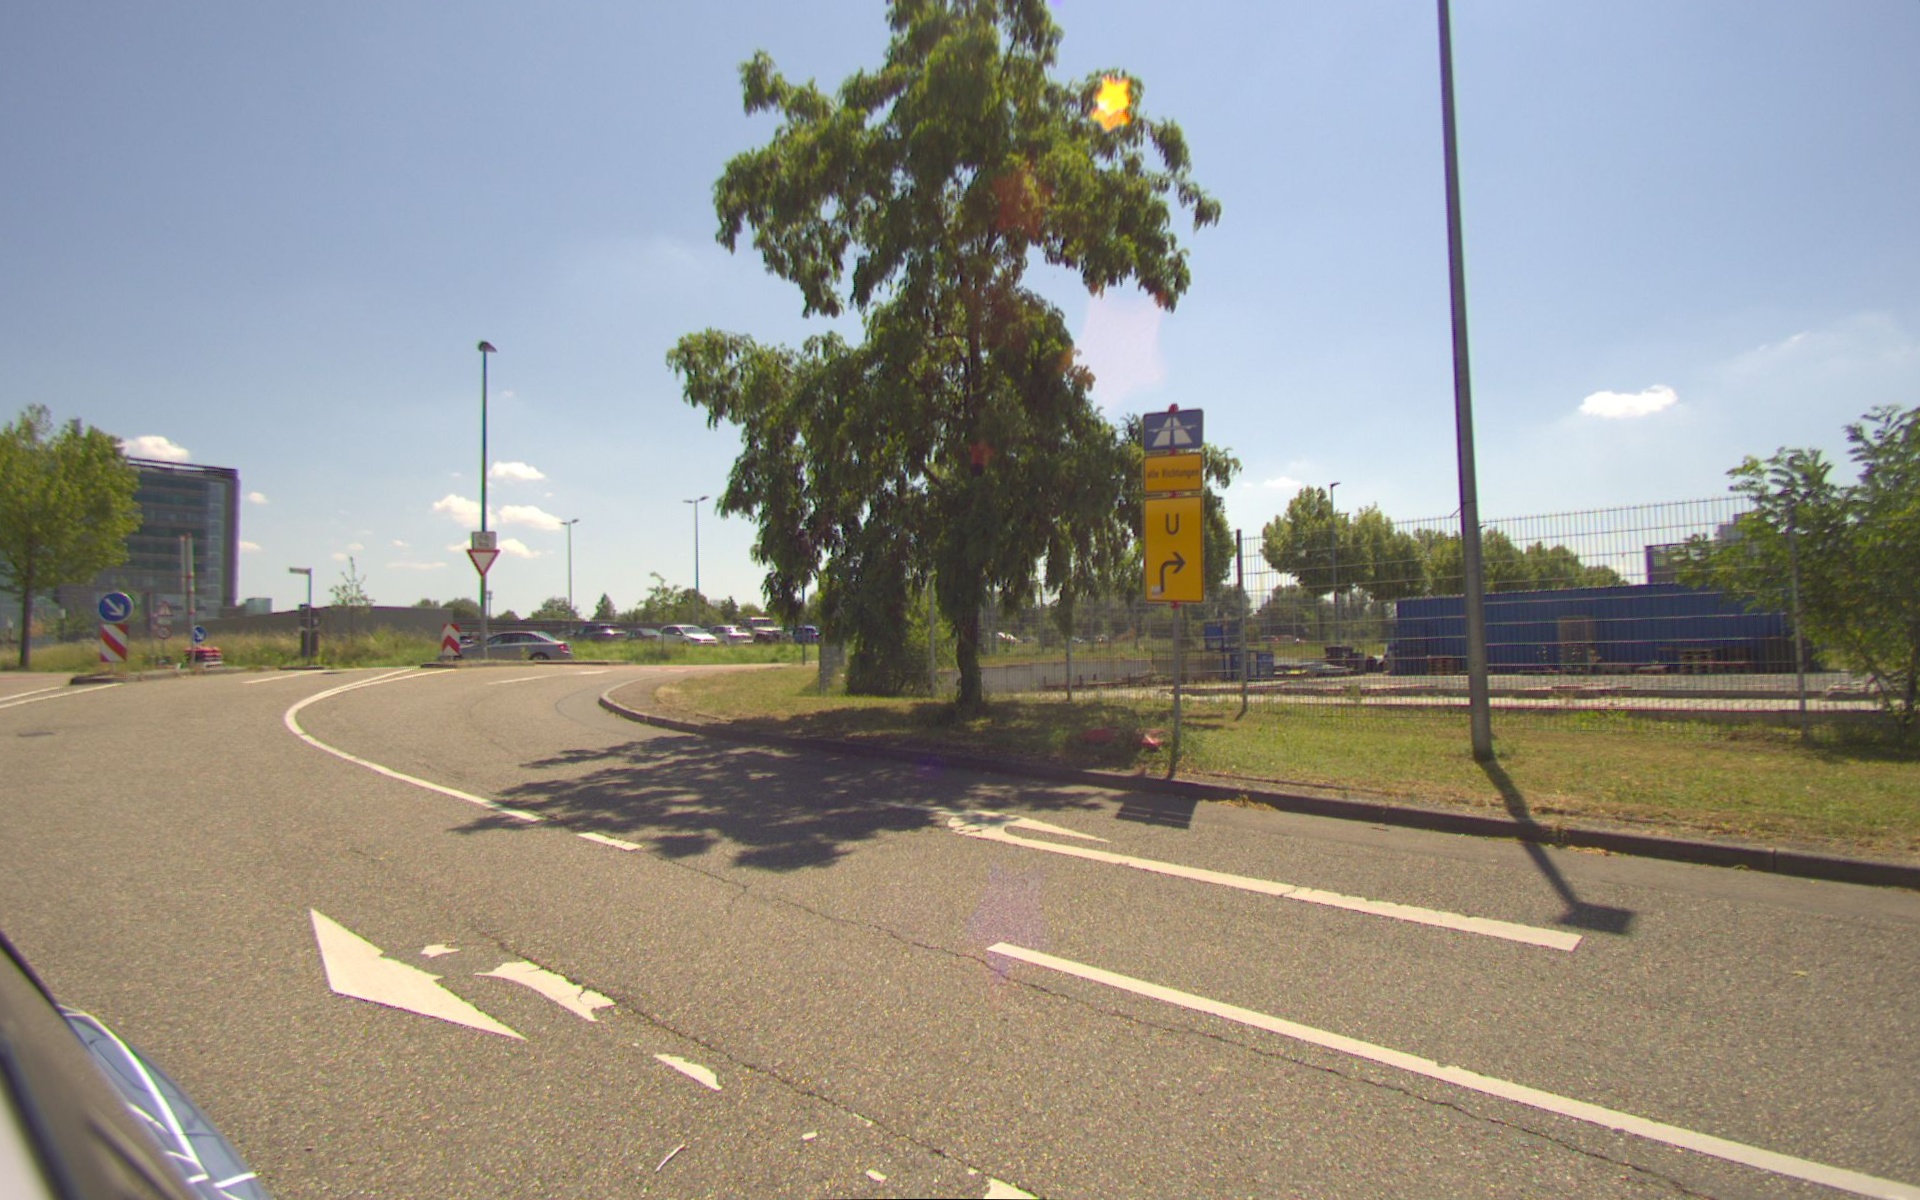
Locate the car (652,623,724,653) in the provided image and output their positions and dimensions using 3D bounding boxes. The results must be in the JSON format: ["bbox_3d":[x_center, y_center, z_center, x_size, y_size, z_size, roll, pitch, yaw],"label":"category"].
[{"bbox_3d":[-13.530,1.900,50.229,3.877,1.307,1.553,-5,-3,42],"label":"car"}]

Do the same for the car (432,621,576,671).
[{"bbox_3d":[-16.076,1.638,35.907,4.421,1.385,1.678,-3,-5,-16],"label":"car"}]

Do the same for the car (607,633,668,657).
[{"bbox_3d":[-19.087,2.673,59.893,3.845,1.373,1.631,-3,-3,40],"label":"car"}]

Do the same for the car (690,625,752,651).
[{"bbox_3d":[-12.365,1.972,52.272,3.269,1.191,1.481,-5,-3,41],"label":"car"}]

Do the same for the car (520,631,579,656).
[{"bbox_3d":[-24.952,2.675,61.512,3.630,1.457,1.634,-3,-3,34],"label":"car"}]

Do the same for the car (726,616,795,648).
[{"bbox_3d":[-10.709,1.723,54.264,1.848,1.539,3.751,-1,-3,-44],"label":"car"}]

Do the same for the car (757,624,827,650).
[{"bbox_3d":[-9.304,2.047,56.014,3.942,1.267,1.565,-4,-3,38],"label":"car"}]

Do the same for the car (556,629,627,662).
[{"bbox_3d":[-21.242,2.674,58.254,4.600,1.703,1.753,-5,-6,40],"label":"car"}]
